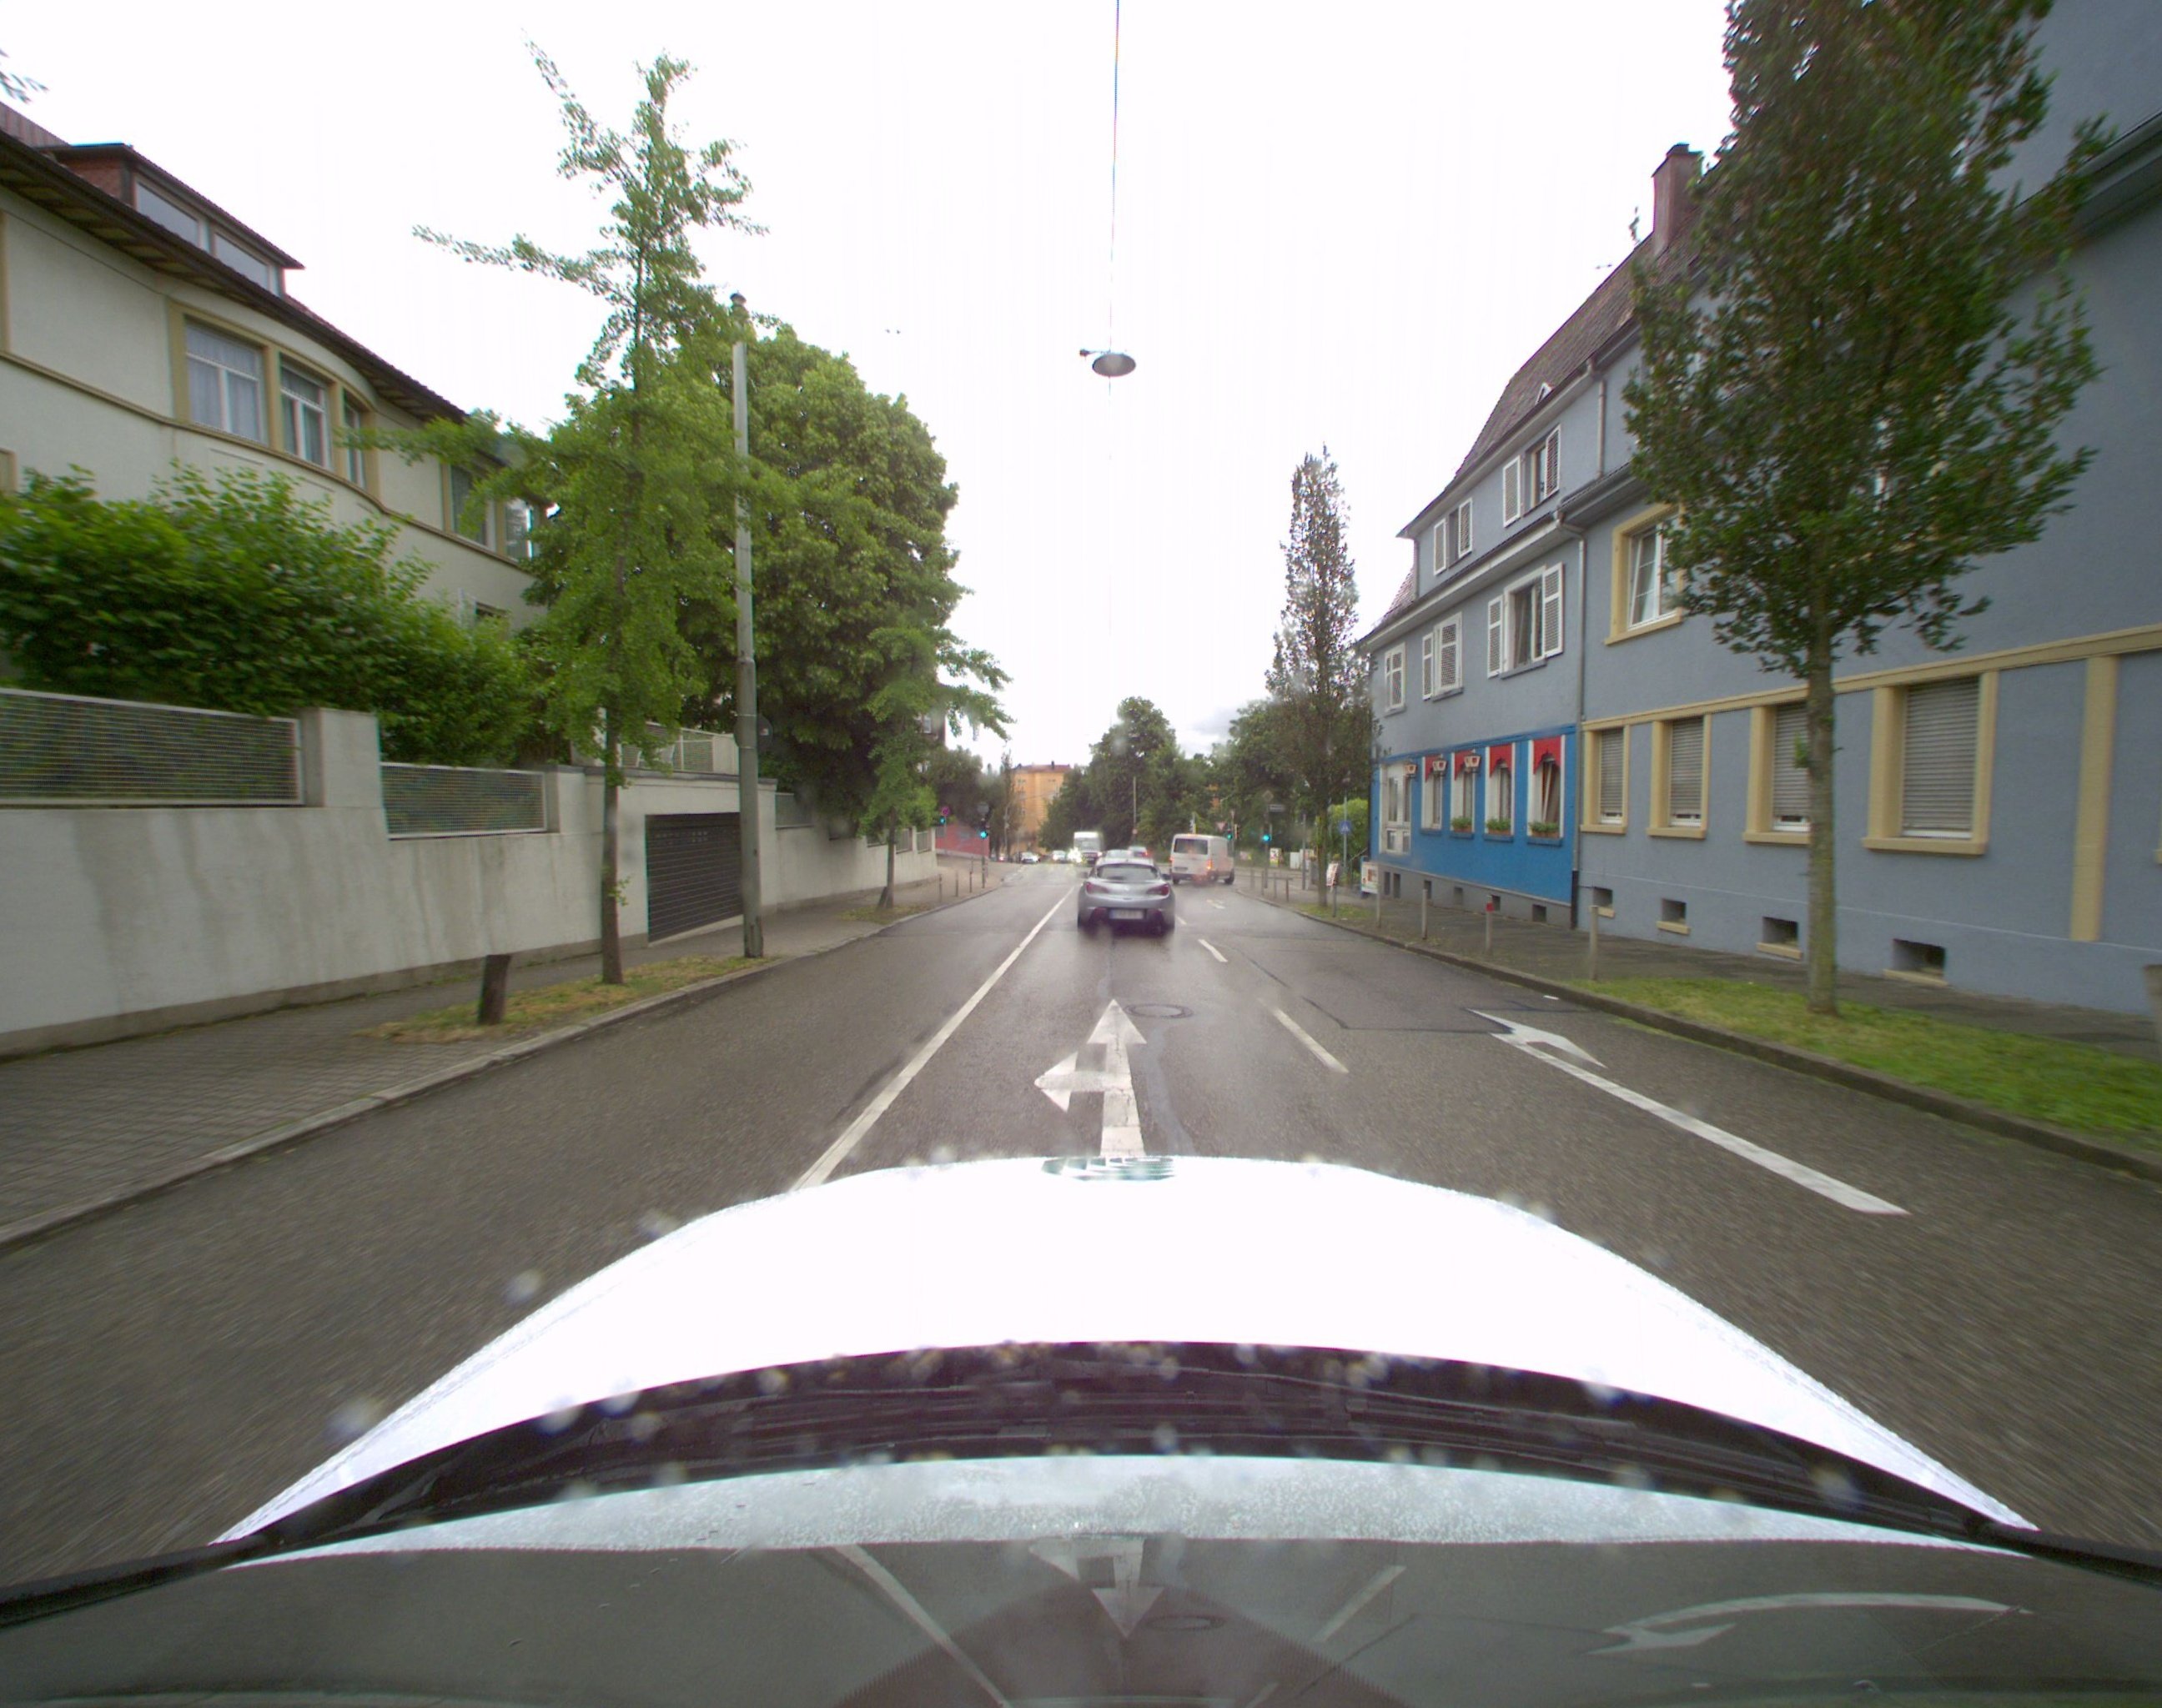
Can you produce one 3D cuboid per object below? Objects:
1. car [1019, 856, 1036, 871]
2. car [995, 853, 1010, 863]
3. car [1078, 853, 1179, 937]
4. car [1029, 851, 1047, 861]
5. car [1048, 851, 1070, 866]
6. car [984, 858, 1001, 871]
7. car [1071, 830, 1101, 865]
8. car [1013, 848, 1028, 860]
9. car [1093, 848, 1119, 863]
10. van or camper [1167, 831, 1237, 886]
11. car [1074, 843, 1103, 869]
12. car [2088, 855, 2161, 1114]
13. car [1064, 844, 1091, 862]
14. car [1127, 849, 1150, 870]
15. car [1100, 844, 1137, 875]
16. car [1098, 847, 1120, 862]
[{"bbox_3d":[-6.125,1.043,92.756,1.849,1.486,5.361,-1,2,-3],"label":"car"},{"bbox_3d":[-12.311,0.627,127.758,1.846,1.584,4.263,3,-1,-11],"label":"car"},{"bbox_3d":[0.919,0.736,16.649,1.808,1.429,4.002,0,1,2],"label":"car"},{"bbox_3d":[-7.054,0.304,133.348,1.820,1.467,3.976,-5,1,-17],"label":"car"},{"bbox_3d":[-2.385,0.515,88.196,1.774,1.497,4.248,-1,0,-9],"label":"car"},{"bbox_3d":[-11.206,1.318,103.148,1.815,1.612,3.985,1,-1,-11],"label":"car"},{"bbox_3d":[0.336,-0.501,62.856,2.111,2.545,5.536,-1,0,-1],"label":"car"},{"bbox_3d":[-9.670,0.037,129.864,1.784,1.855,3.980,0,-1,-14],"label":"car"},{"bbox_3d":[2.863,0.198,93.958,1.818,1.495,3.981,-6,0,-14],"label":"car"},{"bbox_3d":[5.825,0.185,38.682,2.086,2.326,5.445,2,1,21],"label":"van or camper"},{"bbox_3d":[0.486,0.112,54.321,1.816,1.652,4.345,1,1,-1],"label":"car"},{"bbox_3d":[6.772,0.709,3.091,1.582,1.411,3.453,-1,0,-2],"label":"car"},{"bbox_3d":[-0.391,-0.064,76.408,1.874,1.575,4.572,0,0,-8],"label":"car"},{"bbox_3d":[4.131,0.362,58.756,1.379,1.411,3.455,-1,0,-1],"label":"car"},{"bbox_3d":[1.876,0.313,41.185,1.769,1.430,3.786,-1,-1,1],"label":"car"},{"bbox_3d":[2.779,0.065,81.546,1.619,1.486,3.426,-1,-1,-8],"label":"car"}]
